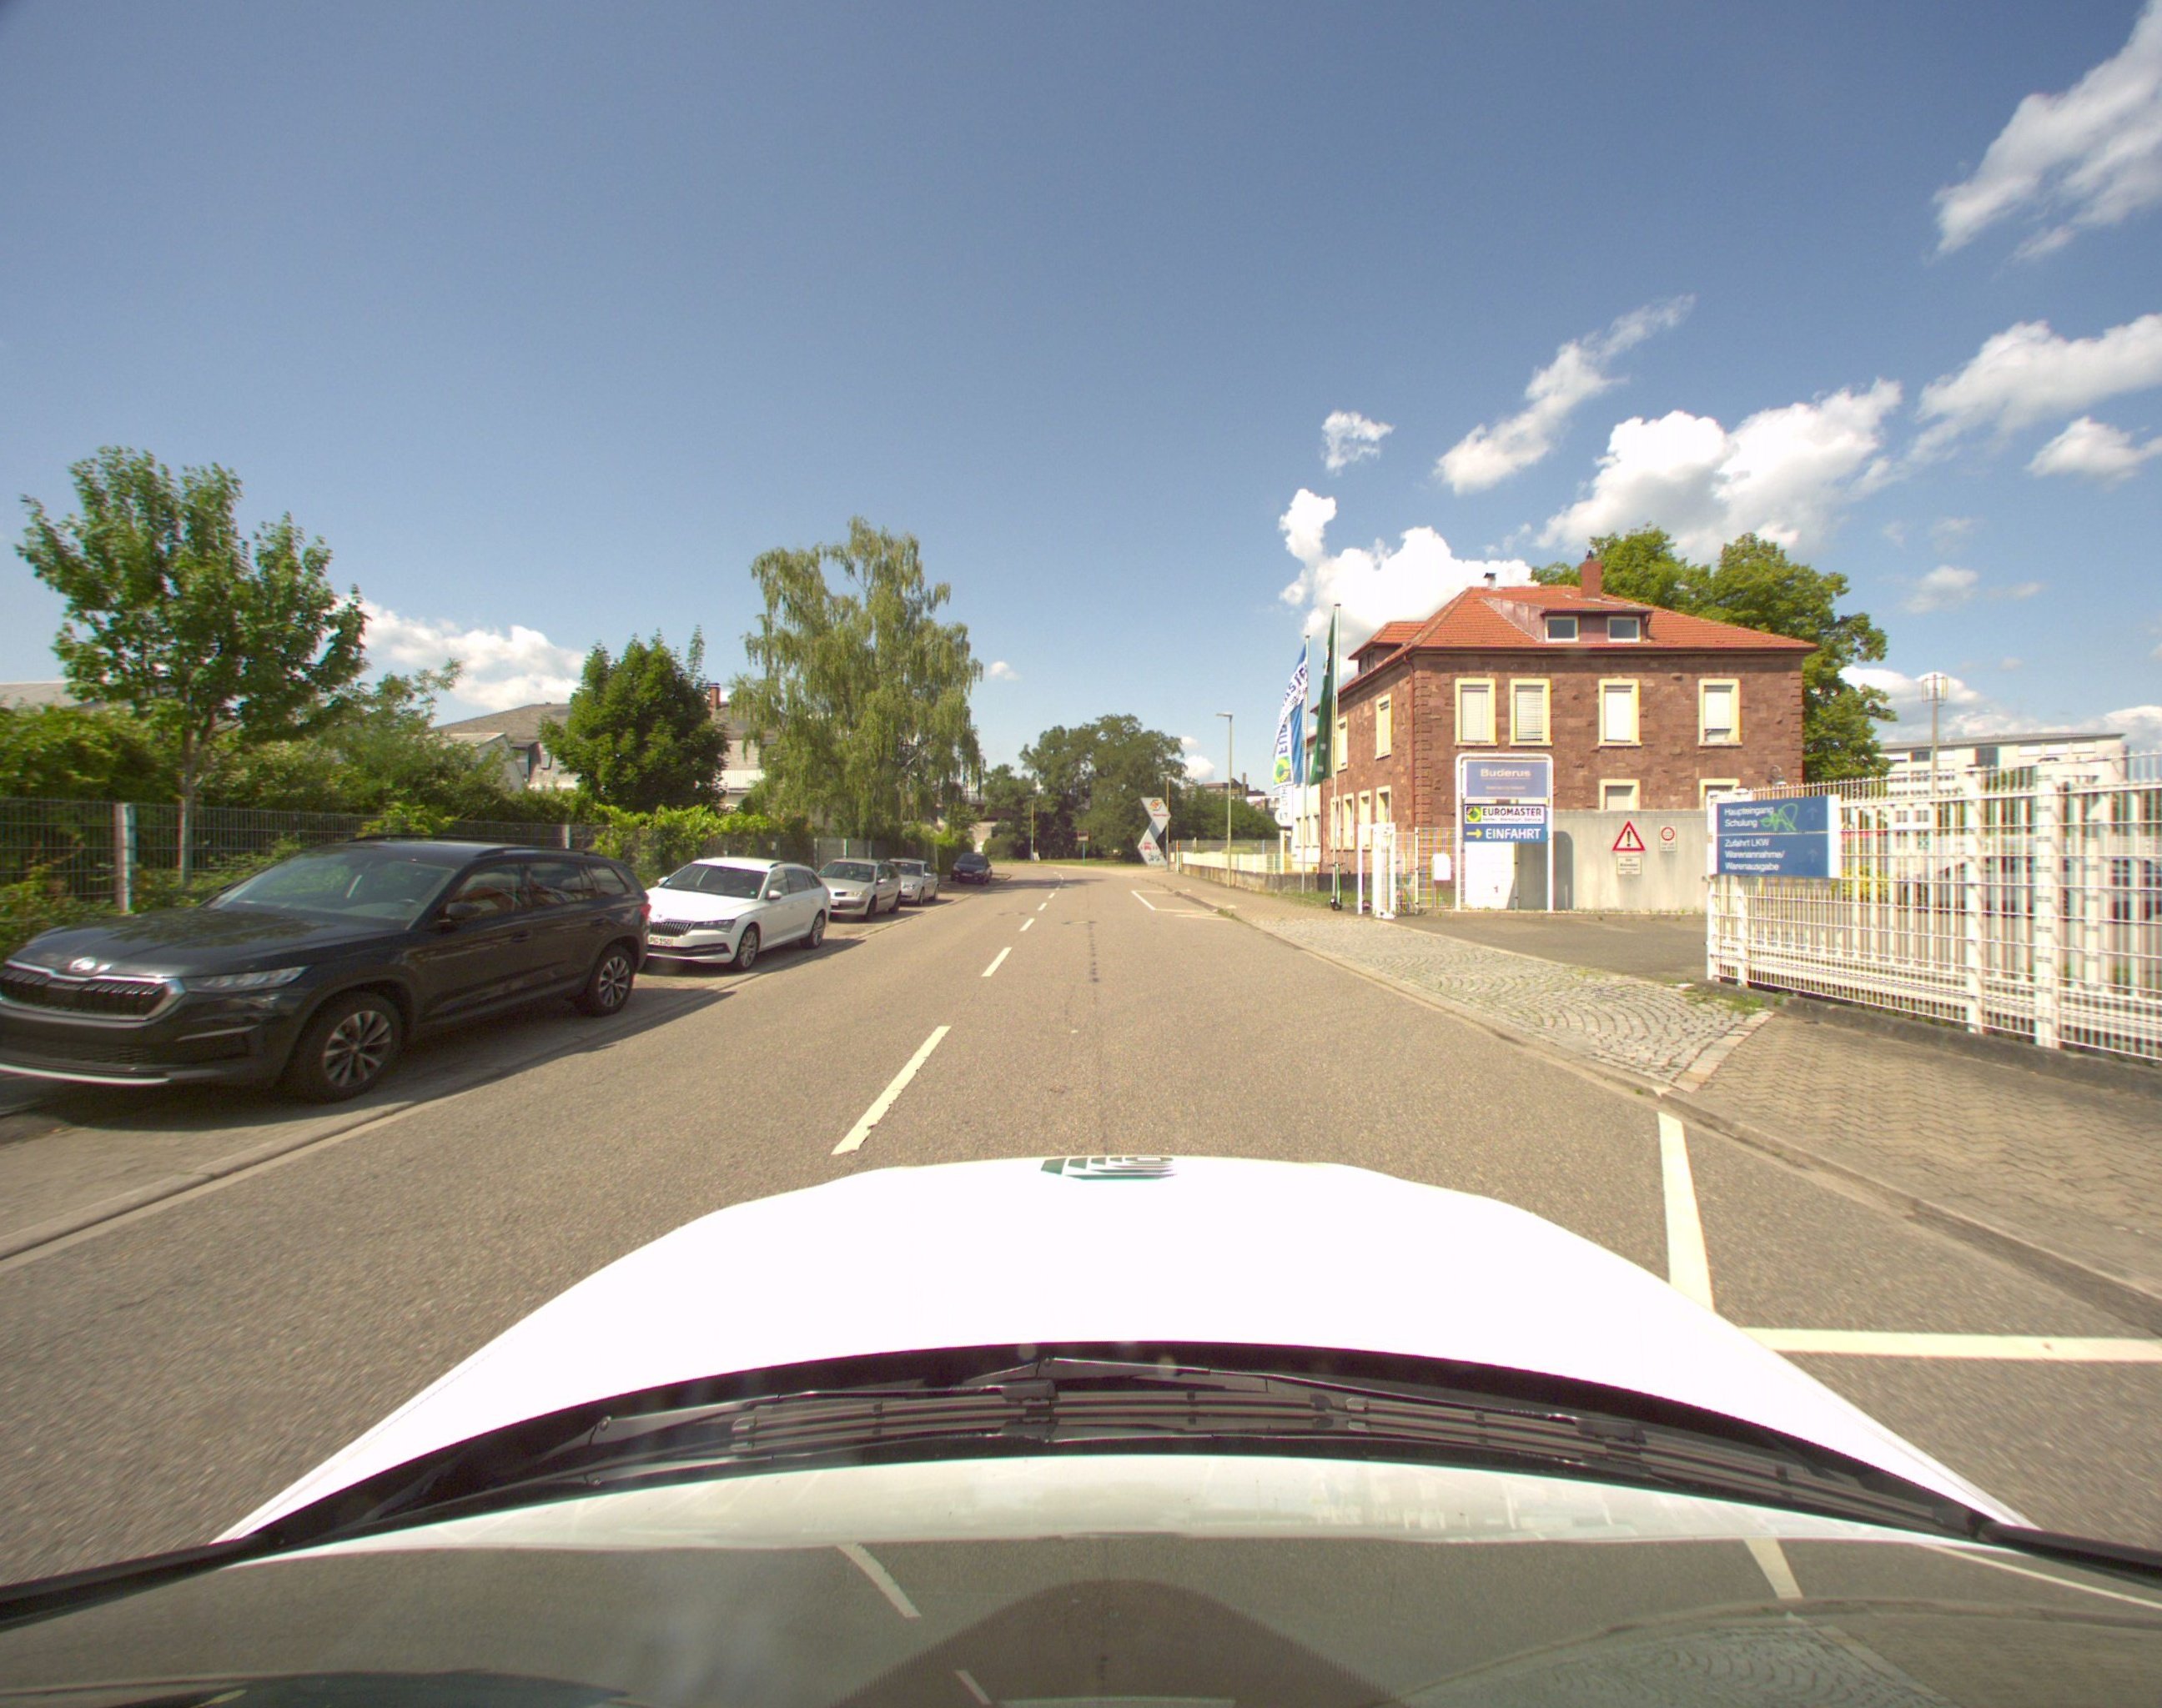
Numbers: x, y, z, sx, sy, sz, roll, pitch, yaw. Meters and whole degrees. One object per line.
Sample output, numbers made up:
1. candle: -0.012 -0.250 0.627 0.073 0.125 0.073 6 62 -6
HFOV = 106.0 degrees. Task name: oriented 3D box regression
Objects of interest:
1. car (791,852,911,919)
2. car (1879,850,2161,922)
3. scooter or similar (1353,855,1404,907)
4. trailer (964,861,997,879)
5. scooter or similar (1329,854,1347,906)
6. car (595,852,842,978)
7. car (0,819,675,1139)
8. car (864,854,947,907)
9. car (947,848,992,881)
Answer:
1. car: -5.847 0.730 21.304 1.788 1.527 4.659 0 0 0
2. car: 22.660 0.657 19.583 1.987 1.477 5.095 0 0 0
3. scooter or similar: 7.265 0.660 19.902 1.137 1.245 0.260 -1 0 18
4. trailer: -5.620 0.888 45.681 1.459 0.851 2.467 4 0 1
5. scooter or similar: 6.498 0.656 20.566 0.332 1.312 0.366 0 0 0
6. car: -5.402 0.782 12.941 1.694 1.595 4.788 0 0 1
7. car: -5.478 0.678 6.872 1.604 1.745 4.638 2 0 2
8. car: -5.764 0.808 27.281 1.719 1.477 4.630 4 0 -1
9. car: -5.655 0.539 41.703 1.677 1.512 4.156 4 0 -1
